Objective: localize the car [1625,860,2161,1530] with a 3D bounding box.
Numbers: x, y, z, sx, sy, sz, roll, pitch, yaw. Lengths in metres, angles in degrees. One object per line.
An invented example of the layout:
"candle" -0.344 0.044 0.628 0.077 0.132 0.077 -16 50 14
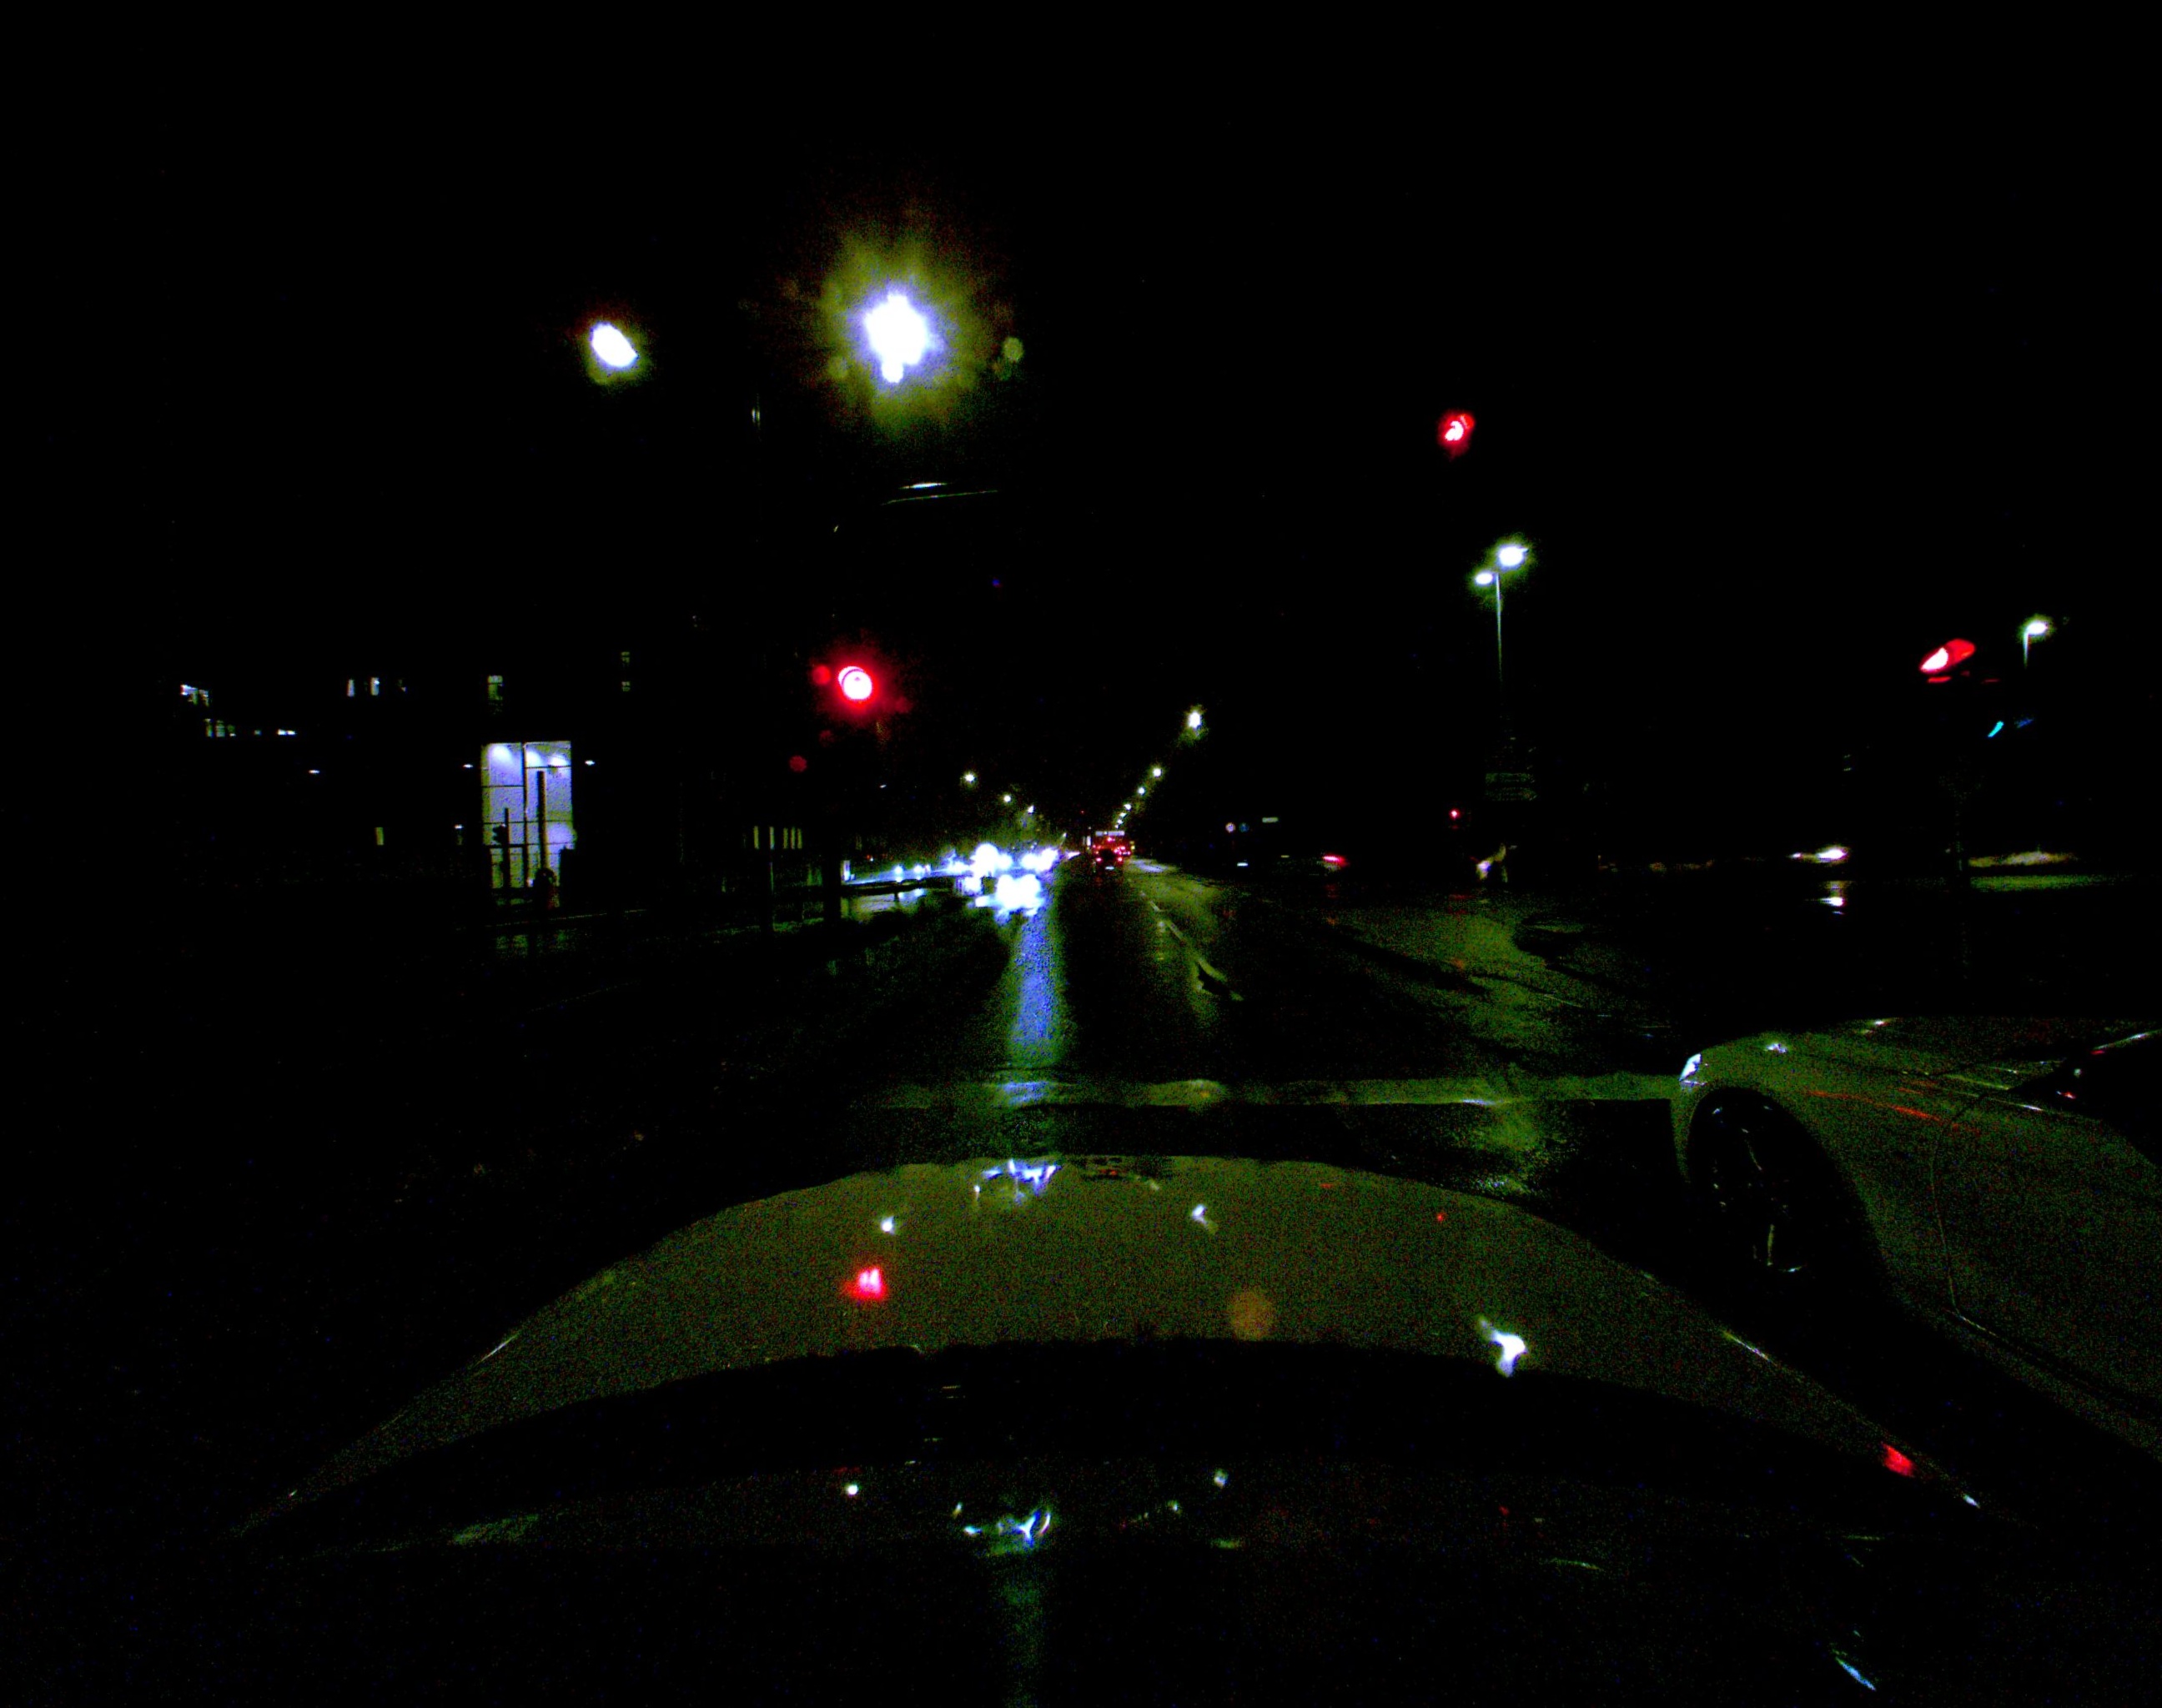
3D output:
"car" 3.117 0.715 1.291 1.710 1.404 4.351 0 -1 2

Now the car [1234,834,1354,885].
"car" 9.002 0.241 34.433 4.574 2.014 2.012 -1 -1 27

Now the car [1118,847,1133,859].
"car" 6.241 -0.118 114.482 1.986 1.759 4.001 0 -1 2

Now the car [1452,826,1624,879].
"car" 15.877 -0.038 28.538 4.877 1.741 1.975 0 -1 6

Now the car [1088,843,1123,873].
"car" 1.473 0.255 49.130 1.986 1.705 4.634 0 -1 2

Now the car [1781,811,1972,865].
"car" 26.681 -0.505 27.457 4.360 1.741 1.914 0 -1 7
